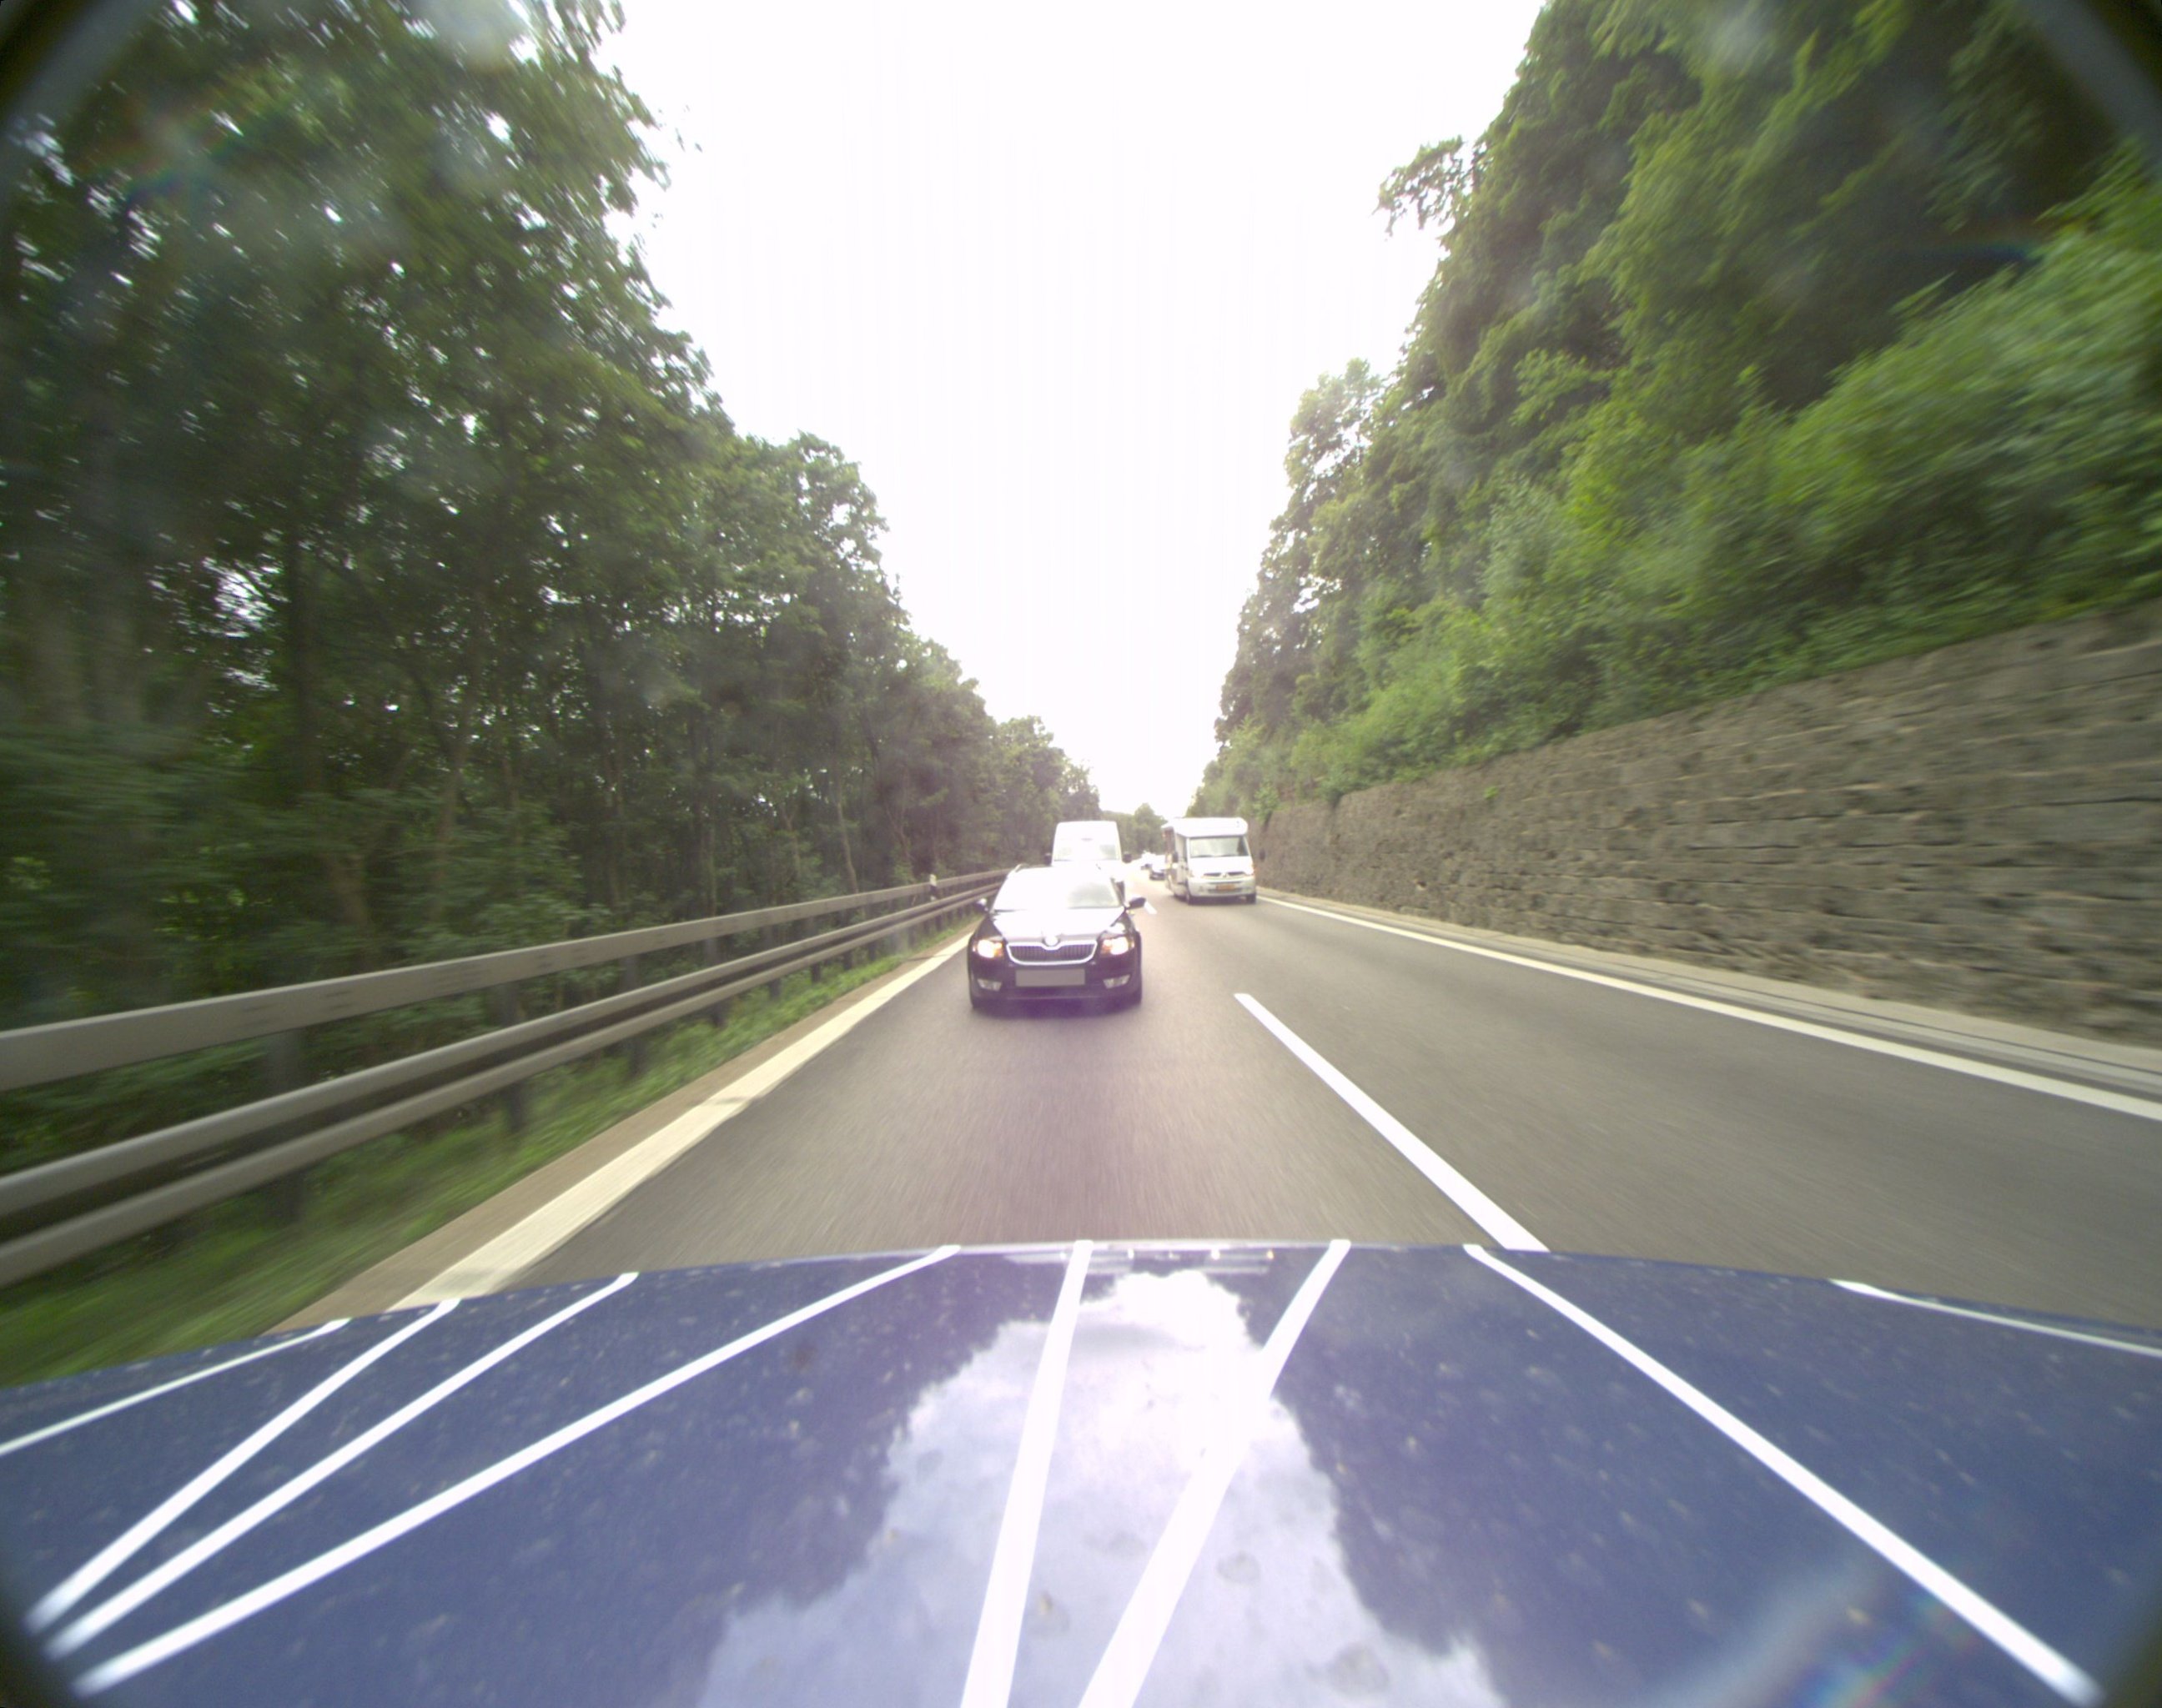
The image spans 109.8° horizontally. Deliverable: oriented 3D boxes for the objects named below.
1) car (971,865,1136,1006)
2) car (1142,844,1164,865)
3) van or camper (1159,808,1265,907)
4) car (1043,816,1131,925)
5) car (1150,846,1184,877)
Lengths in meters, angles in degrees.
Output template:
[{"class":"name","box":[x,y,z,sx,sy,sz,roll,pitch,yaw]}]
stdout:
[{"class":"car","box":[-0.236,0.929,10.494,1.751,1.409,4.401,-2,0,2]},{"class":"car","box":[7.299,0.017,77.277,1.998,2.002,4.001,-2,0,3]},{"class":"van or camper","box":[4.062,0.070,24.969,2.271,2.719,7.023,-2,0,1]},{"class":"car","box":[0.276,0.363,20.754,2.000,2.545,5.128,-2,1,3]},{"class":"car","box":[5.207,0.425,46.347,1.808,1.772,4.001,-2,0,3]}]
